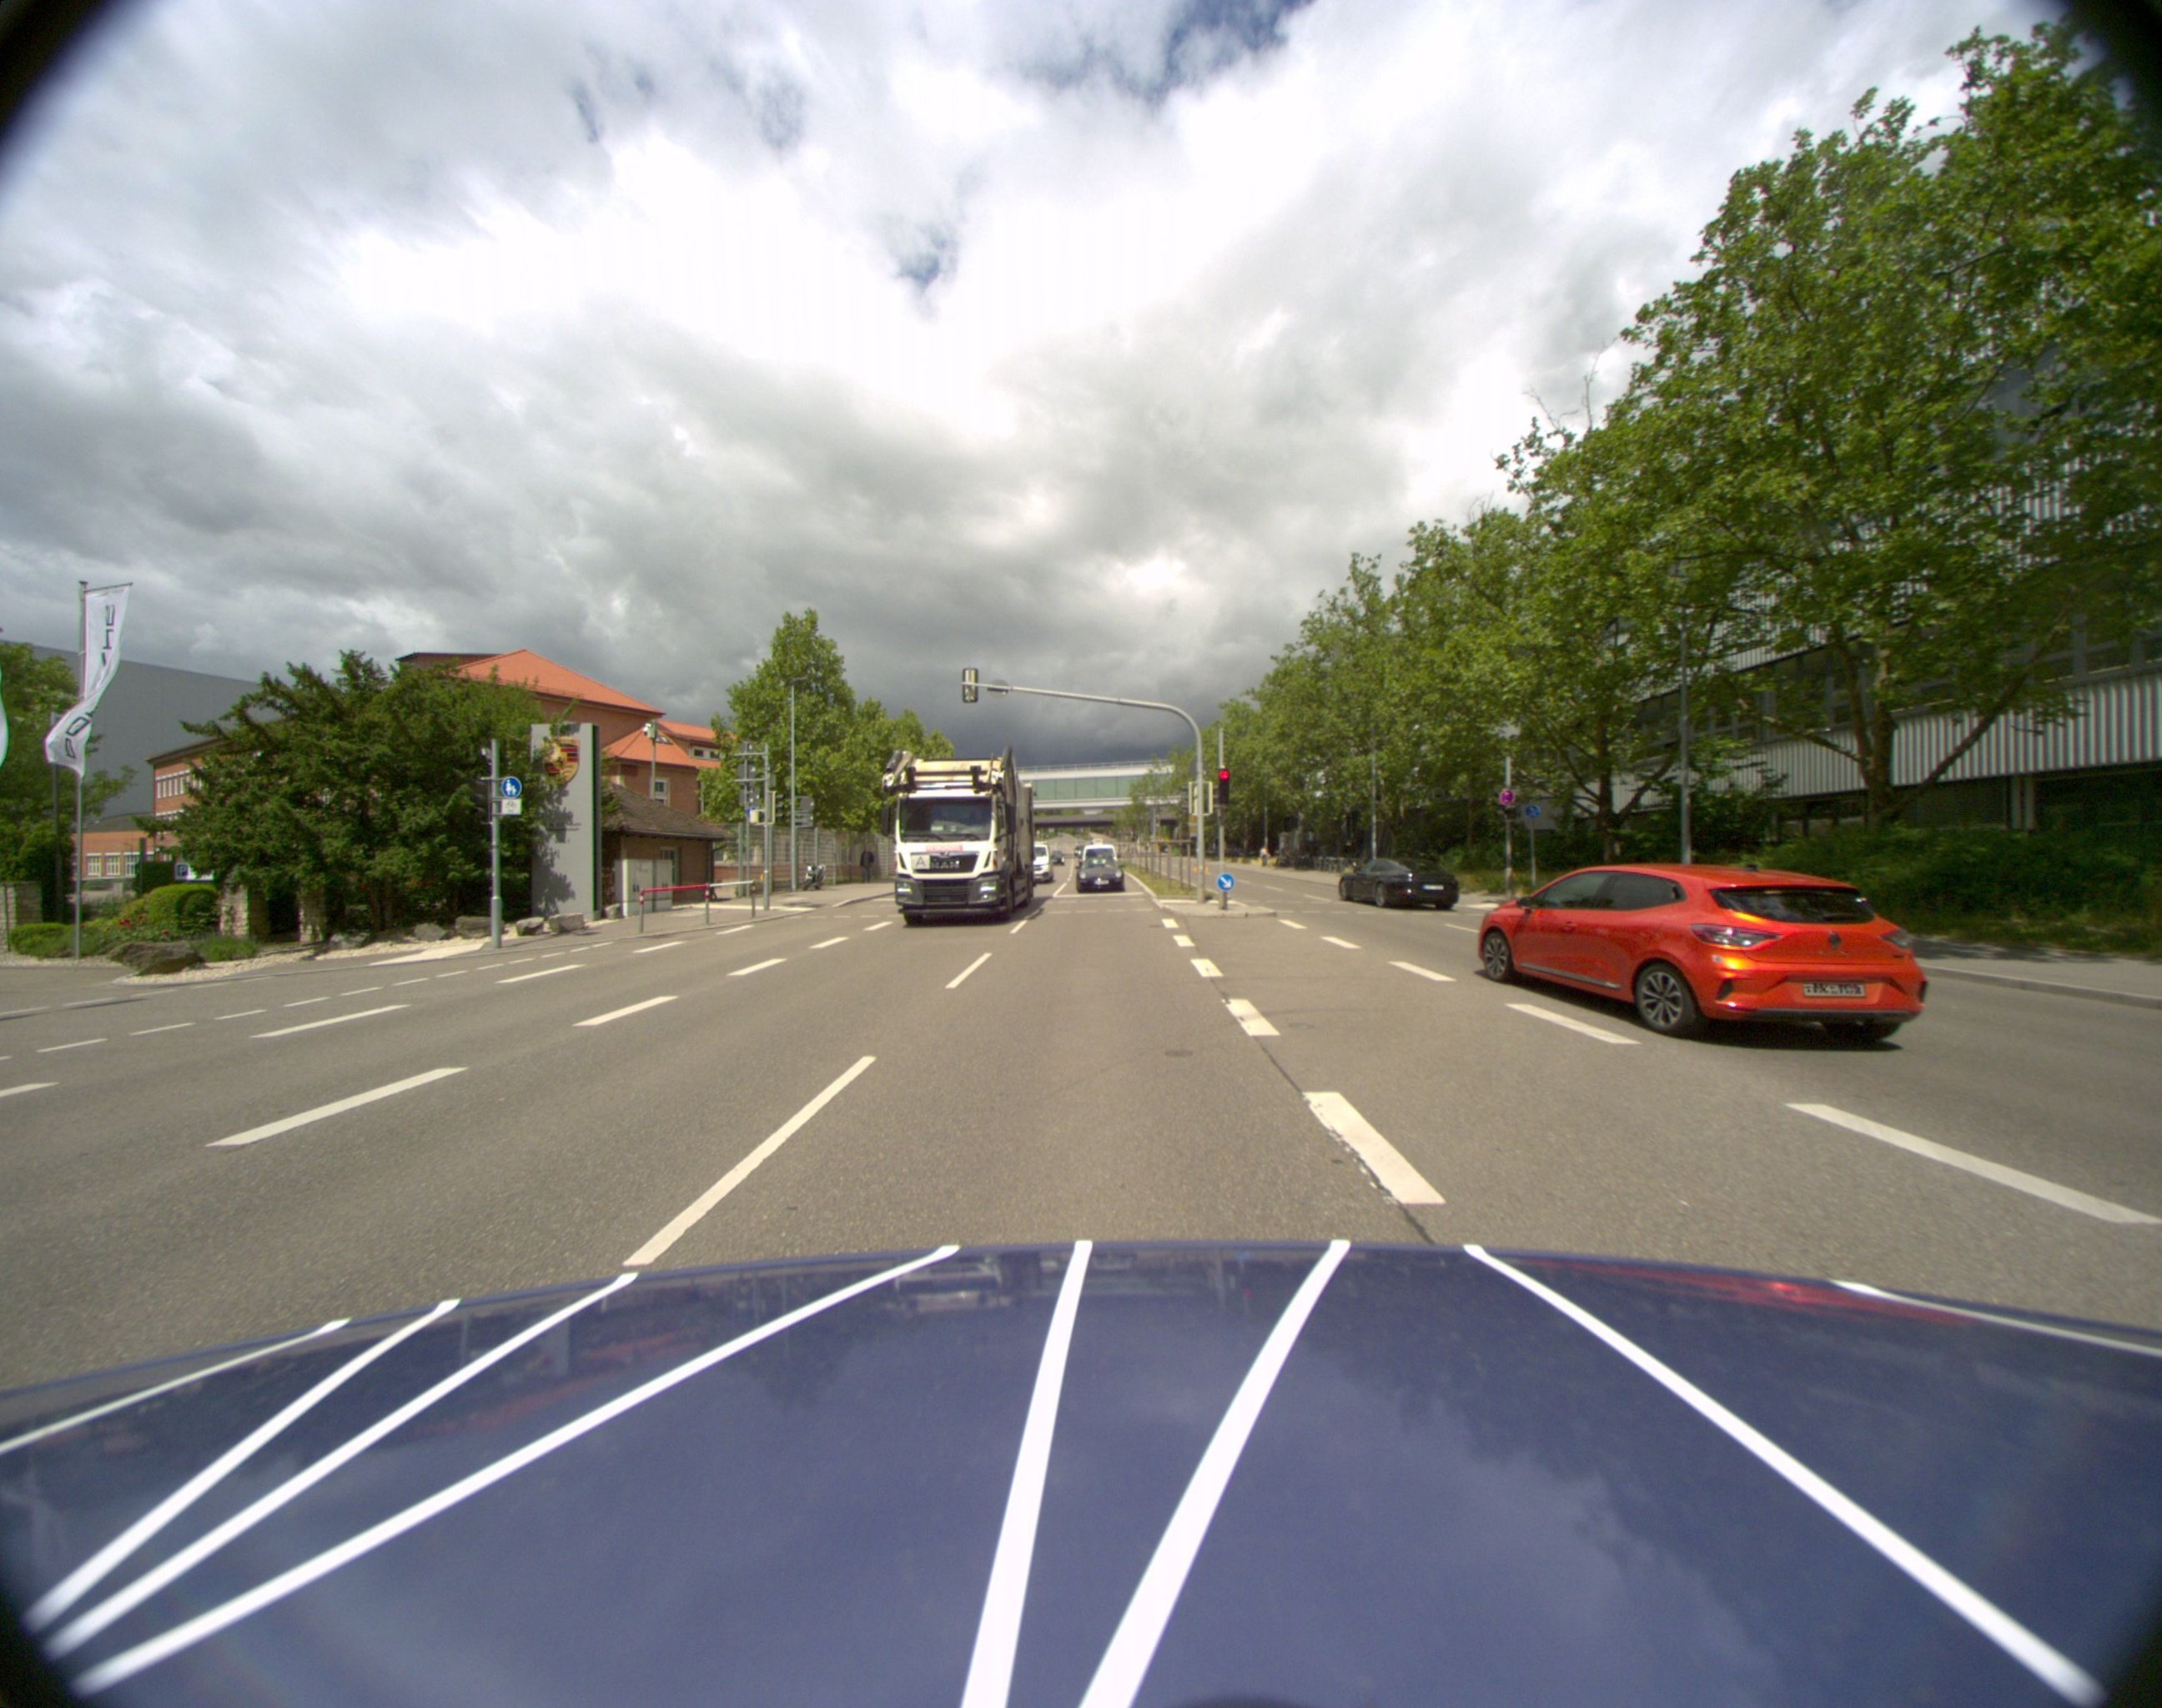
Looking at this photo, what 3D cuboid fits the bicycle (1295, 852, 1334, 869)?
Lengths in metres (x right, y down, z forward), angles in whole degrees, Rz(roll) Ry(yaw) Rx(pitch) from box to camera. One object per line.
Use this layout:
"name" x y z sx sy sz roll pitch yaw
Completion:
"bicycle" 15.788 0.429 51.465 2.413 1.079 0.615 -2 1 0

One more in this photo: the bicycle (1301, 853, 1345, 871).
"bicycle" 15.488 0.508 48.686 2.561 1.079 0.628 -2 1 4

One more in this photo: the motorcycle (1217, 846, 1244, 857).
"motorcycle" 16.619 -0.266 84.376 2.830 1.029 0.600 -2 -2 4

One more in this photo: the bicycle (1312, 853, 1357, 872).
"bicycle" 15.604 0.507 46.838 2.563 1.079 0.615 -2 1 -2

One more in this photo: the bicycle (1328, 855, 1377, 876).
"bicycle" 15.329 0.658 42.945 2.561 1.079 0.616 -2 1 6

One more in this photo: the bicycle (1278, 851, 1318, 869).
"bicycle" 15.344 0.409 53.765 2.562 1.171 0.615 -2 1 1

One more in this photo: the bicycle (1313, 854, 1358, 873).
"bicycle" 15.383 0.576 45.983 2.564 1.079 0.615 -2 1 -8

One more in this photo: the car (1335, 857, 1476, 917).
"car" 9.228 0.874 22.122 1.999 1.446 4.767 1 1 -1

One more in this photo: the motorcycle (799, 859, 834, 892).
"motorcycle" -10.495 0.814 30.232 0.570 1.219 2.175 0 1 1

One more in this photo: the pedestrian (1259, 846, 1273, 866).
"pedestrian" 14.158 0.159 58.277 0.846 1.524 0.749 -2 1 1

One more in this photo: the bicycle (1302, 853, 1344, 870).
"bicycle" 15.762 0.492 49.536 2.560 1.079 0.616 -2 1 14

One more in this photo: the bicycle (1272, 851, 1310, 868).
"bicycle" 15.342 0.382 55.578 2.562 1.171 0.615 -2 1 1

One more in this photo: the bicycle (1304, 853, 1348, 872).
"bicycle" 15.443 0.544 47.892 2.562 1.079 0.615 -2 1 -1

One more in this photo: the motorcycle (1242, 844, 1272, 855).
"motorcycle" 17.369 -0.438 74.903 2.830 1.029 0.600 -2 -2 4

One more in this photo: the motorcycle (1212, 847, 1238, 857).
"motorcycle" 16.363 -0.218 86.457 2.830 1.029 0.600 -2 -2 4

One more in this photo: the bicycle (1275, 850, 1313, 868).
"bicycle" 15.330 0.369 54.733 2.562 1.171 0.615 -2 1 1

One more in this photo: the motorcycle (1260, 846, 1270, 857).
"motorcycle" 19.620 -0.247 80.975 0.599 1.029 2.591 -2 -2 4

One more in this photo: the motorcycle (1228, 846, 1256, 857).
"motorcycle" 17.052 -0.225 80.424 2.829 1.029 0.600 -2 -2 7

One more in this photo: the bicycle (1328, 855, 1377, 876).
"bicycle" 15.661 0.659 43.883 2.560 1.079 0.616 -2 1 8

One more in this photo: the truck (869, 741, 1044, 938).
"truck" -2.767 -0.357 20.682 2.713 3.863 10.740 -2 1 1

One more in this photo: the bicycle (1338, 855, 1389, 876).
"bicycle" 15.504 0.634 41.722 2.561 1.079 0.616 -2 1 6

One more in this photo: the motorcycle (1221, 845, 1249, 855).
"motorcycle" 16.527 -0.438 81.571 2.830 1.029 0.600 -2 -2 4

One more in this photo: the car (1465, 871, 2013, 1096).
"car" 5.676 0.968 7.371 1.889 1.446 3.902 1 1 0

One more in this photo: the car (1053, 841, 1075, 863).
"car" -1.640 -0.228 75.047 1.871 1.944 4.711 -3 1 2

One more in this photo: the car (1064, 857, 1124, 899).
"car" 0.538 0.821 27.572 1.838 1.317 4.002 -3 -1 5

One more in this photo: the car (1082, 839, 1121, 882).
"car" 1.033 0.346 38.314 1.824 2.001 4.392 -1 -1 1

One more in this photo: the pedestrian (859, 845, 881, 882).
"pedestrian" -10.339 0.473 37.314 0.729 1.756 1.015 -2 1 1

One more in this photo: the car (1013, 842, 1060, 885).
"car" -2.186 0.401 38.432 1.871 1.944 4.711 -2 1 2

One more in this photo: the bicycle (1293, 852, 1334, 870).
"bicycle" 15.469 0.445 50.625 2.561 1.079 0.616 -2 1 7

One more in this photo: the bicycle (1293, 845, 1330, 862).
"bicycle" 15.926 -0.016 52.496 2.411 1.079 0.616 -2 1 11
